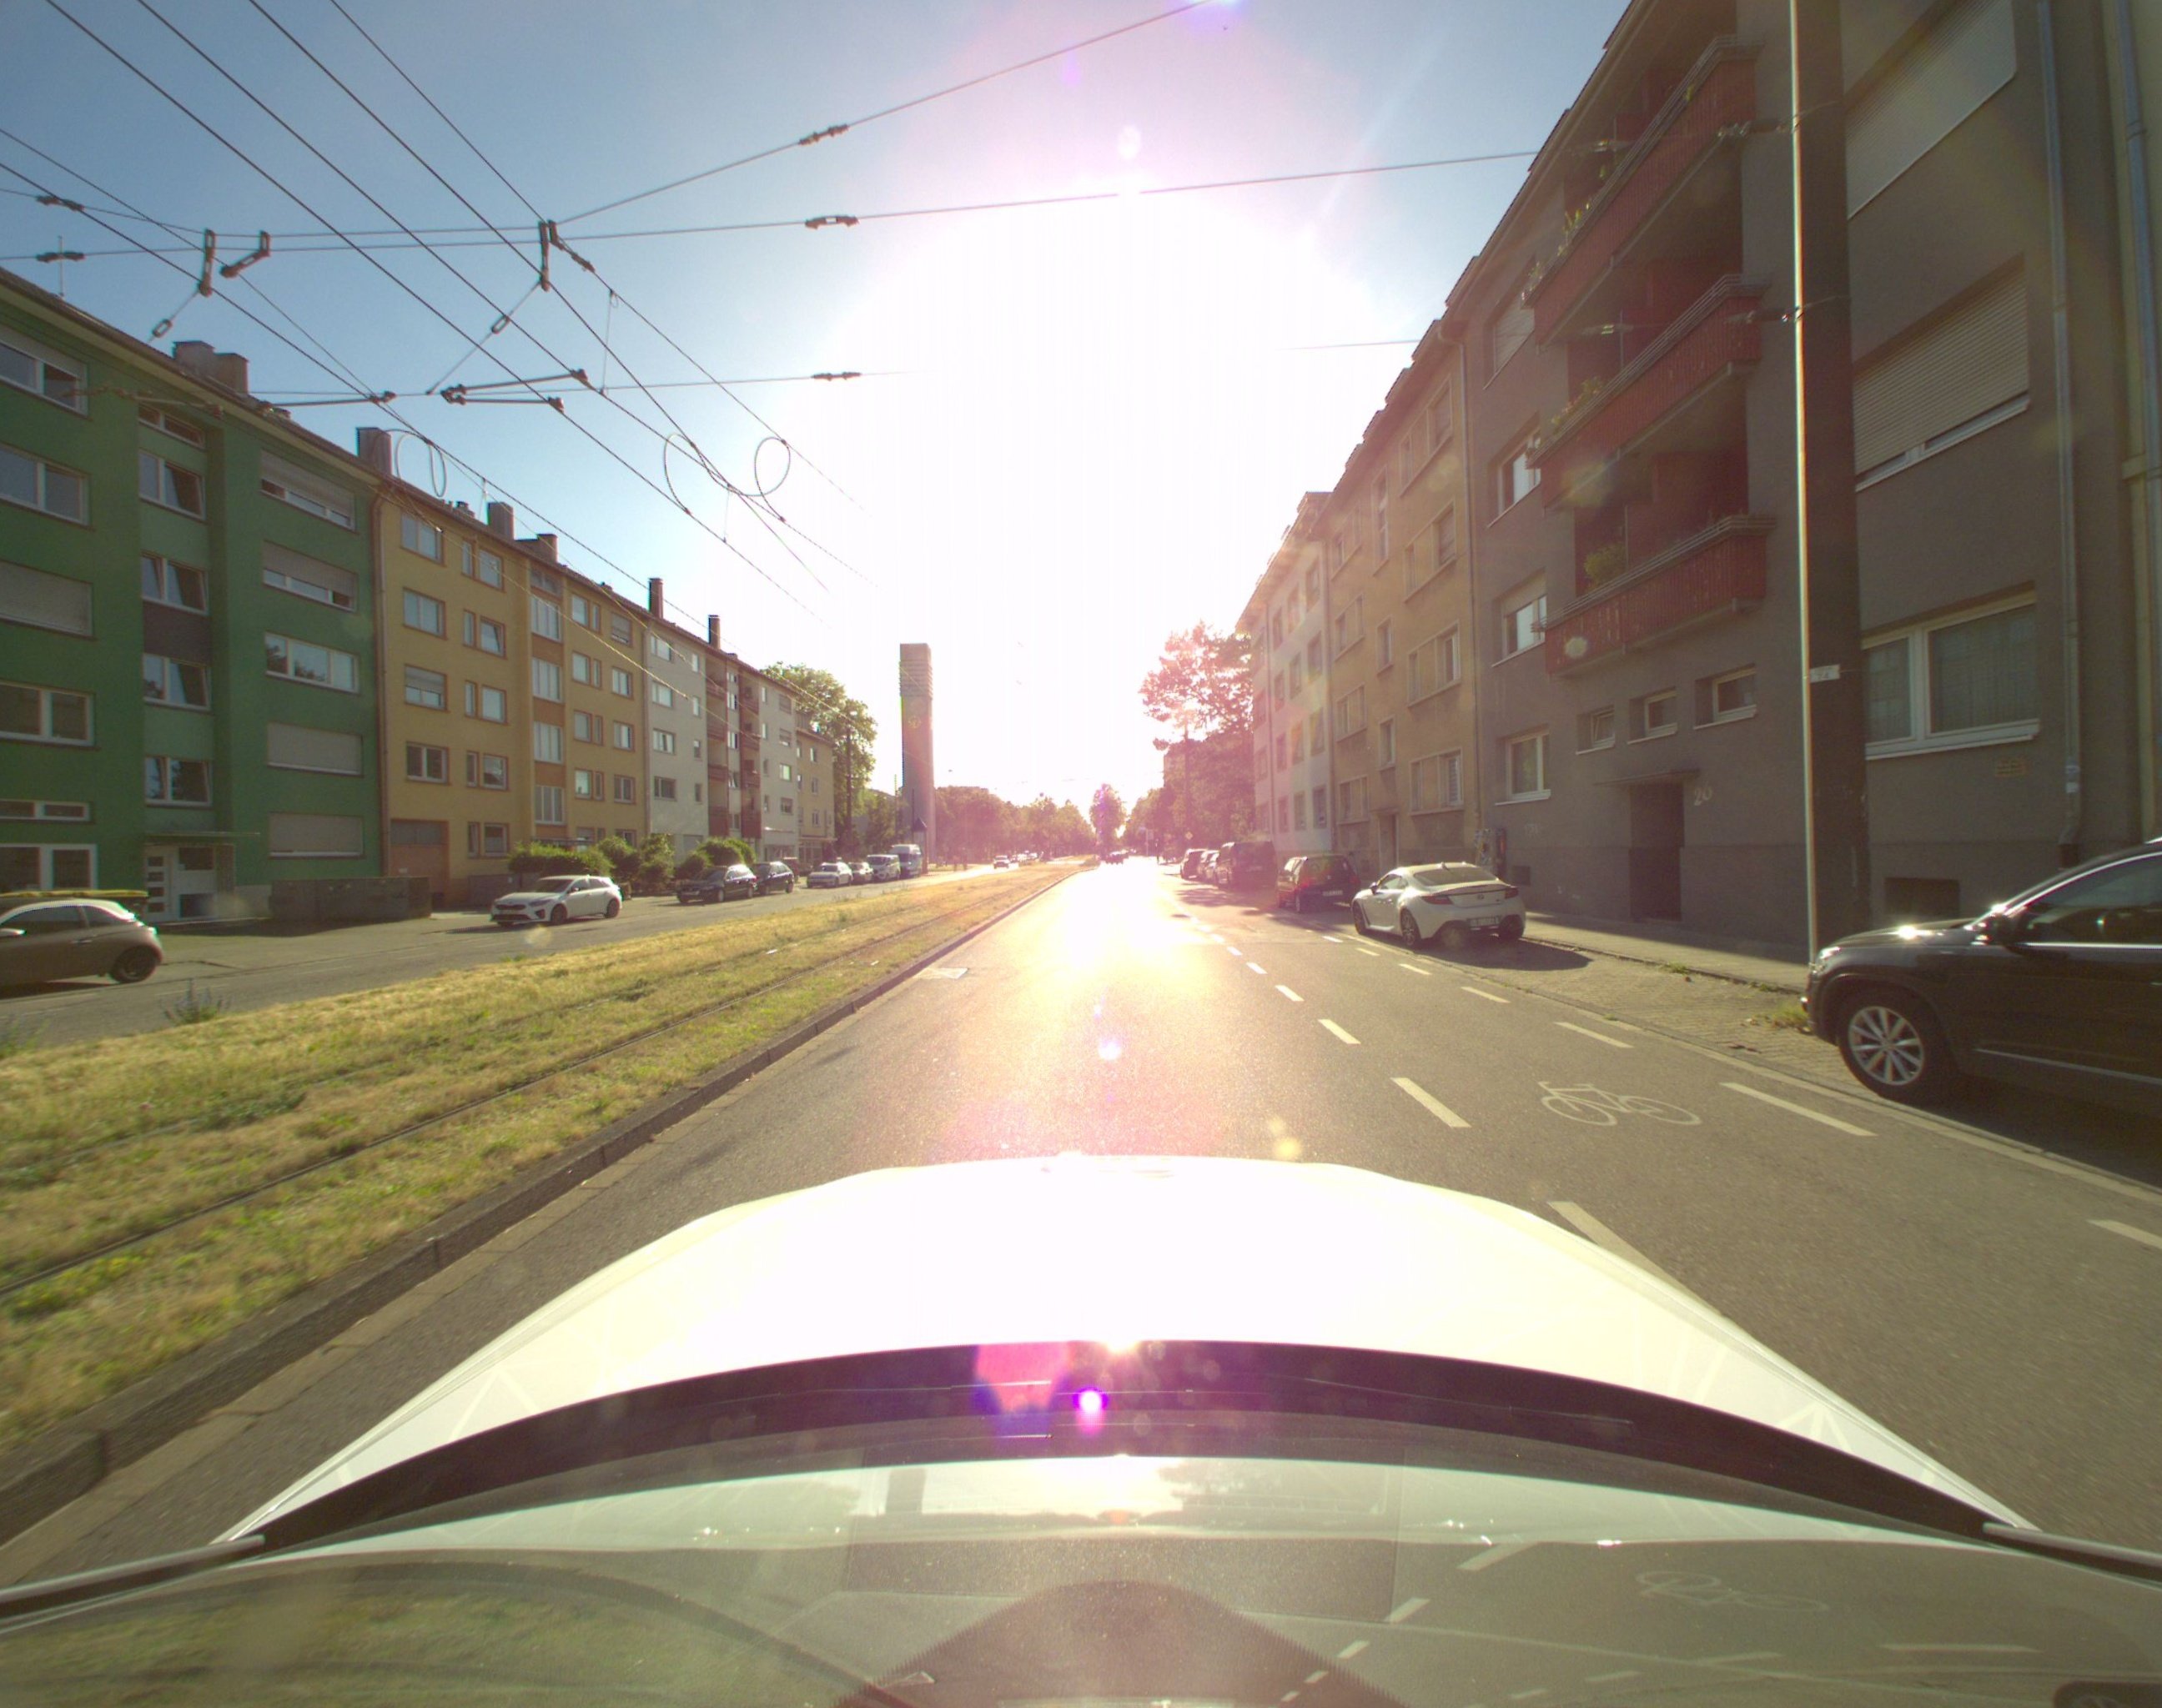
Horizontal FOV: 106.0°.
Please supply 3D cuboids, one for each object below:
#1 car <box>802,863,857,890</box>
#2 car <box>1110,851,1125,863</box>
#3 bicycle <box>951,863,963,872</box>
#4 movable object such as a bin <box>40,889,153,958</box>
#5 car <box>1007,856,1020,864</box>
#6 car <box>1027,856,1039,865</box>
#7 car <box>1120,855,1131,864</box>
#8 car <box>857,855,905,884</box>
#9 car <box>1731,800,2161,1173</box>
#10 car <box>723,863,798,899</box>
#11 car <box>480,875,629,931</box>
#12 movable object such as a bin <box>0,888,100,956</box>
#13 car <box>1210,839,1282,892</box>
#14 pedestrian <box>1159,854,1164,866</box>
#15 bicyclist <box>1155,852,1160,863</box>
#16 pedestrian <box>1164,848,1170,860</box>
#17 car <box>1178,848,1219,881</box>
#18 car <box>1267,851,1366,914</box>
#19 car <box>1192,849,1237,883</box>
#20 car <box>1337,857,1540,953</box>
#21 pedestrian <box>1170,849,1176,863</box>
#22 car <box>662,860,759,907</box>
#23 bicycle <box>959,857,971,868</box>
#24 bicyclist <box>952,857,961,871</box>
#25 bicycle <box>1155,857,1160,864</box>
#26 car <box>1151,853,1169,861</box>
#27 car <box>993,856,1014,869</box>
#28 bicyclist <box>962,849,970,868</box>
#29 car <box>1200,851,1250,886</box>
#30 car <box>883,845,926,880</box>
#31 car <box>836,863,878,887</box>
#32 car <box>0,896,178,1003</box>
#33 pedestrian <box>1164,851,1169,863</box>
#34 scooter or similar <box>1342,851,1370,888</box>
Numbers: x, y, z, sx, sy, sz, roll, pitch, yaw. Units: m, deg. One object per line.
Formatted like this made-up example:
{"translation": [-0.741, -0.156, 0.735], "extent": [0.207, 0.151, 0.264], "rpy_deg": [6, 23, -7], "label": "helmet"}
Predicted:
{"translation": [-15.577, 1.378, 50.698], "extent": [1.886, 1.491, 4.703], "rpy_deg": [1, 0, 0], "label": "car"}
{"translation": [4.654, 0.398, 104.654], "extent": [1.689, 1.508, 3.698], "rpy_deg": [1, 0, 0], "label": "car"}
{"translation": [-12.633, 1.373, 82.830], "extent": [0.765, 0.879, 2.070], "rpy_deg": [-3, 0, 2], "label": "bicycle"}
{"translation": [-21.096, 1.467, 17.484], "extent": [1.141, 1.368, 1.040], "rpy_deg": [1, 0, 4], "label": "movable object such as a bin"}
{"translation": [-12.644, 1.099, 153.081], "extent": [1.800, 1.533, 4.363], "rpy_deg": [-1, 0, 2], "label": "car"}
{"translation": [-9.103, 1.259, 154.303], "extent": [1.681, 1.533, 4.363], "rpy_deg": [-1, 0, 2], "label": "car"}
{"translation": [8.649, 1.063, 159.342], "extent": [1.887, 1.611, 4.501], "rpy_deg": [1, 0, 1], "label": "car"}
{"translation": [-15.223, 1.146, 62.258], "extent": [2.024, 2.021, 5.374], "rpy_deg": [1, 0, 3], "label": "car"}
{"translation": [5.627, 0.562, 3.782], "extent": [1.630, 1.647, 4.373], "rpy_deg": [-4, 0, 0], "label": "car"}
{"translation": [-16.097, 1.316, 41.128], "extent": [1.986, 1.607, 4.153], "rpy_deg": [1, 0, 2], "label": "car"}
{"translation": [-16.409, 1.472, 25.679], "extent": [1.722, 1.454, 4.378], "rpy_deg": [0, 0, 2], "label": "car"}
{"translation": [-22.357, 1.442, 17.549], "extent": [1.141, 1.368, 1.040], "rpy_deg": [1, 0, 4], "label": "movable object such as a bin"}
{"translation": [6.683, 0.430, 33.491], "extent": [1.906, 1.899, 5.137], "rpy_deg": [-4, 0, 1], "label": "car"}
{"translation": [10.956, 0.808, 110.934], "extent": [0.642, 1.522, 0.498], "rpy_deg": [1, 0, 14], "label": "pedestrian"}
{"translation": [9.900, 0.473, 105.638], "extent": [0.635, 1.323, 0.804], "rpy_deg": [1, 0, 4], "label": "bicyclist"}
{"translation": [11.683, 0.033, 111.033], "extent": [0.724, 1.682, 0.535], "rpy_deg": [1, 0, 14], "label": "pedestrian"}
{"translation": [6.933, 0.585, 48.602], "extent": [1.871, 1.717, 4.937], "rpy_deg": [-4, 0, 3], "label": "car"}
{"translation": [6.275, 0.713, 22.122], "extent": [1.629, 1.454, 3.791], "rpy_deg": [-4, 0, 2], "label": "car"}
{"translation": [7.042, 0.609, 43.265], "extent": [1.589, 1.578, 3.894], "rpy_deg": [-4, 0, -1], "label": "car"}
{"translation": [6.065, 0.775, 14.436], "extent": [1.696, 1.275, 4.304], "rpy_deg": [-5, 0, 1], "label": "car"}
{"translation": [11.861, 0.247, 104.936], "extent": [0.699, 1.789, 0.695], "rpy_deg": [-4, 1, 7], "label": "pedestrian"}
{"translation": [-16.124, 1.245, 35.756], "extent": [1.986, 1.838, 4.611], "rpy_deg": [1, 0, 2], "label": "car"}
{"translation": [-12.619, 0.899, 88.916], "extent": [0.765, 1.146, 2.476], "rpy_deg": [-3, 0, 2], "label": "bicycle"}
{"translation": [-12.637, 1.023, 82.793], "extent": [0.770, 1.384, 0.648], "rpy_deg": [-2, 0, 2], "label": "bicyclist"}
{"translation": [9.899, 0.844, 105.613], "extent": [0.645, 0.972, 1.806], "rpy_deg": [1, 0, 5], "label": "bicycle"}
{"translation": [18.935, 0.645, 194.746], "extent": [3.960, 1.860, 2.019], "rpy_deg": [1, 0, 12], "label": "car"}
{"translation": [-8.885, 0.966, 93.623], "extent": [1.687, 1.448, 4.220], "rpy_deg": [-3, 0, 3], "label": "car"}
{"translation": [-12.514, 0.493, 88.482], "extent": [0.770, 2.013, 0.648], "rpy_deg": [1, 0, 2], "label": "bicyclist"}
{"translation": [6.732, 0.643, 38.431], "extent": [1.506, 1.478, 4.237], "rpy_deg": [-3, 0, -1], "label": "car"}
{"translation": [-14.951, 0.683, 69.360], "extent": [2.024, 2.868, 6.233], "rpy_deg": [0, 0, 3], "label": "car"}
{"translation": [-15.377, 1.438, 56.056], "extent": [1.689, 1.515, 4.325], "rpy_deg": [0, 0, -1], "label": "car"}
{"translation": [-16.996, 1.496, 12.707], "extent": [1.630, 1.442, 3.733], "rpy_deg": [1, 0, 0], "label": "car"}
{"translation": [11.066, 0.384, 105.066], "extent": [0.526, 1.529, 0.629], "rpy_deg": [-3, -1, 7], "label": "pedestrian"}
{"translation": [9.544, 0.527, 28.320], "extent": [0.457, 1.238, 1.339], "rpy_deg": [-5, 0, 2], "label": "scooter or similar"}
